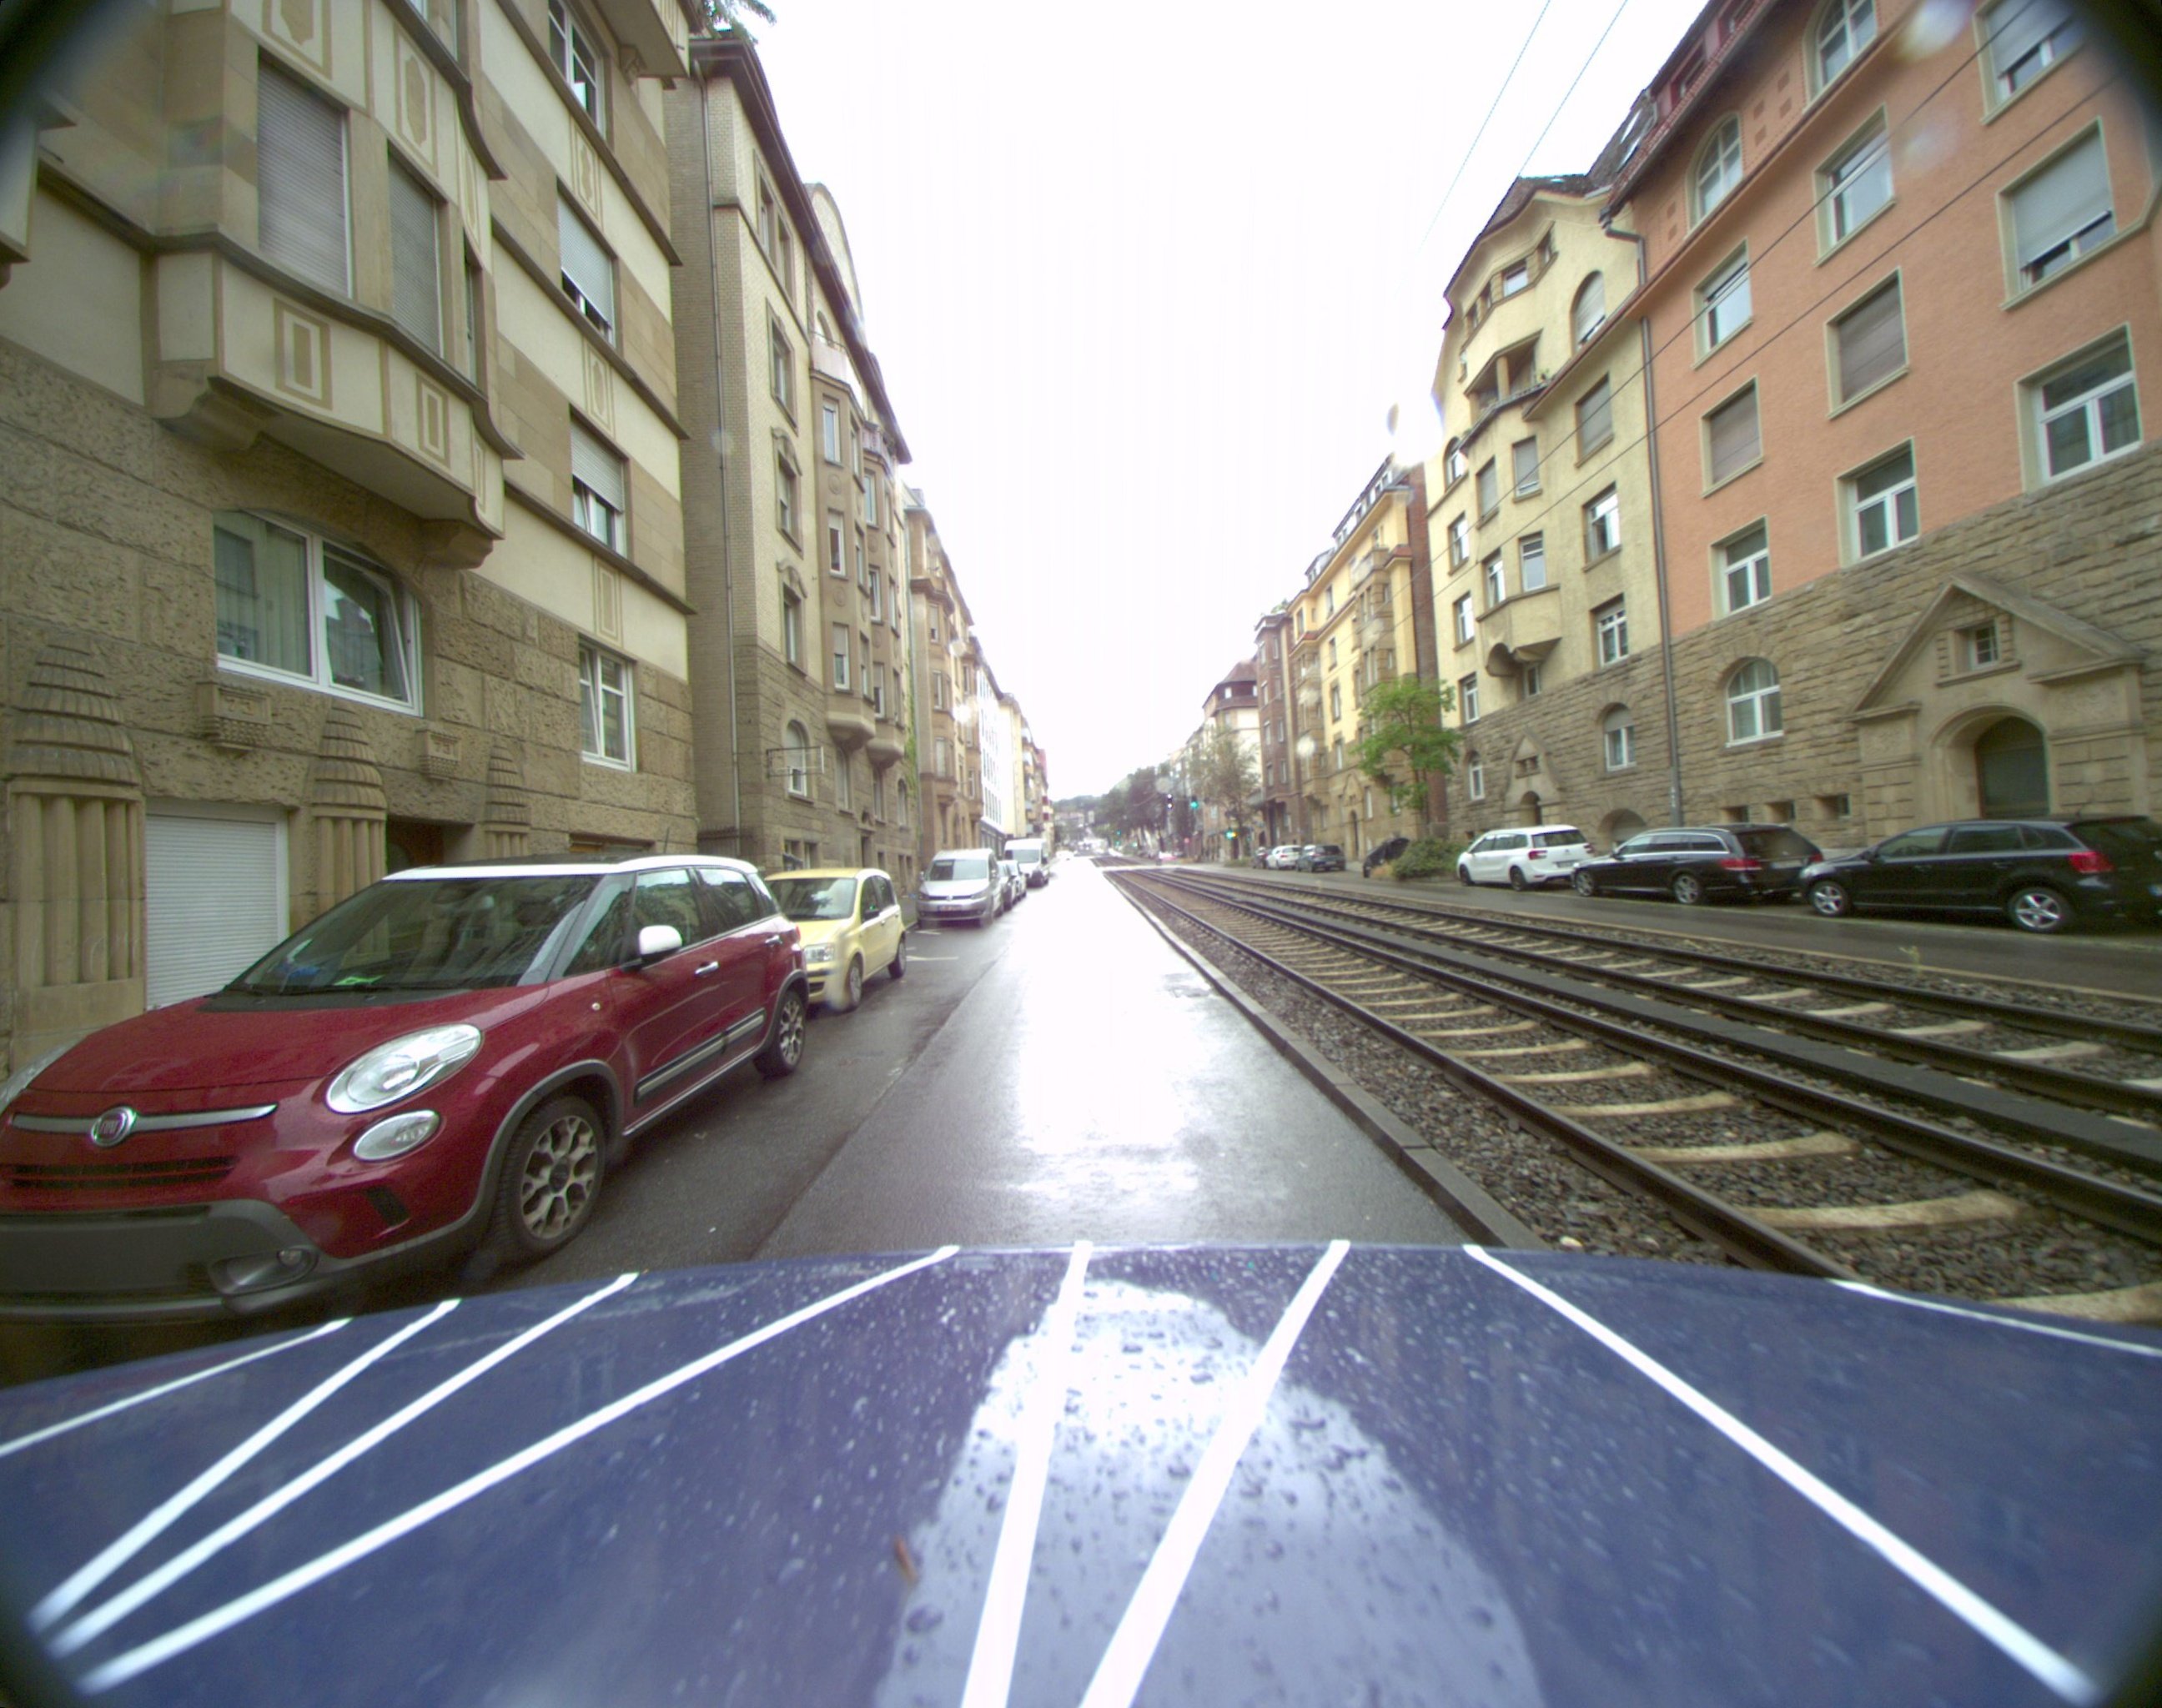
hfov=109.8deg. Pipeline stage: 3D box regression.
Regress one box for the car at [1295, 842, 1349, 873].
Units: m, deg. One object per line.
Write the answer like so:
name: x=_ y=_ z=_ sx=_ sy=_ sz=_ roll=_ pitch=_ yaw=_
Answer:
car: x=12.499 y=0.130 z=39.620 sx=1.678 sy=1.433 sz=3.845 roll=-4 pitch=1 yaw=3

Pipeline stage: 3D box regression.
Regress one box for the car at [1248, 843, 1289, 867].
car: x=12.477 y=0.066 z=50.753 sx=1.771 sy=1.433 sz=3.845 roll=-3 pitch=0 yaw=1

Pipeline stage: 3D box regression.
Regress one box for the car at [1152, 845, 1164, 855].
car: x=12.835 y=-0.643 z=126.841 sx=1.657 sy=1.589 sz=3.775 roll=-3 pitch=0 yaw=1

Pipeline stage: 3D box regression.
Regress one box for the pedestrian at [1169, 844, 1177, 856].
pedestrian: x=15.062 y=-0.641 z=123.973 sx=1.056 sy=1.946 sz=1.163 roll=-3 pitch=1 yaw=2

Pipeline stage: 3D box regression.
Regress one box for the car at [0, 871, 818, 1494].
car: x=-3.039 y=0.978 z=4.098 sx=1.807 sy=1.590 sz=3.999 roll=-3 pitch=0 yaw=-1

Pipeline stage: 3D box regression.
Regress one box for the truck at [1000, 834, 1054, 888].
truck: x=-2.729 y=0.340 z=39.951 sx=2.235 sy=2.521 sz=6.143 roll=-3 pitch=0 yaw=1

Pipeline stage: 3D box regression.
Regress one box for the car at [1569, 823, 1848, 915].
car: x=12.286 y=0.249 z=15.390 sx=1.847 sy=1.486 sz=4.601 roll=-3 pitch=0 yaw=1

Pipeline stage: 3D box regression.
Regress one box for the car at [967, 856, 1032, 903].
car: x=-2.958 y=0.880 z=28.322 sx=1.891 sy=1.521 sz=3.929 roll=-3 pitch=0 yaw=1

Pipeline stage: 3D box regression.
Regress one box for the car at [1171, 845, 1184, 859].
car: x=12.668 y=-0.242 z=99.551 sx=1.583 sy=1.669 sz=3.790 roll=-3 pitch=2 yaw=7

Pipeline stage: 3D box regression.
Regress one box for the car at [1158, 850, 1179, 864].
car: x=9.834 y=0.308 z=85.821 sx=1.807 sy=1.514 sz=4.964 roll=-3 pitch=0 yaw=1

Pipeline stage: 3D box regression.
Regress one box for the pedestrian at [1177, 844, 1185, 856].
pedestrian: x=16.339 y=-0.689 z=123.961 sx=1.056 sy=1.946 sz=1.163 roll=-3 pitch=1 yaw=2

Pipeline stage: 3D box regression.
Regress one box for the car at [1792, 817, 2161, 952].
car: x=12.523 y=0.316 z=10.472 sx=1.935 sy=1.488 sz=3.641 roll=-2 pitch=1 yaw=-2

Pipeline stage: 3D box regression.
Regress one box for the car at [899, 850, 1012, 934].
car: x=-3.016 y=0.847 z=19.205 sx=1.968 sy=1.792 sz=4.459 roll=-3 pitch=0 yaw=1

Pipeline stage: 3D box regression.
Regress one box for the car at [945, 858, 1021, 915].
car: x=-2.969 y=0.938 z=23.822 sx=1.999 sy=1.521 sz=3.999 roll=-3 pitch=0 yaw=-3

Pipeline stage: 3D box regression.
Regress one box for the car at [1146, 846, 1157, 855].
car: x=12.431 y=-0.642 z=133.710 sx=1.632 sy=1.537 sz=3.801 roll=-3 pitch=0 yaw=1

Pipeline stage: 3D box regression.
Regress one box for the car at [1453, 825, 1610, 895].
car: x=12.267 y=0.136 z=21.052 sx=1.867 sy=1.646 sz=4.146 roll=-3 pitch=0 yaw=1

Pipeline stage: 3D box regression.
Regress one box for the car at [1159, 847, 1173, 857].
car: x=12.865 y=-0.285 z=115.371 sx=1.771 sy=1.507 sz=3.845 roll=-3 pitch=0 yaw=1

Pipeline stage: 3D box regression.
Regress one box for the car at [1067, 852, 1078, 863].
car: x=-1.578 y=0.637 z=143.760 sx=1.998 sy=1.838 sz=4.000 roll=-3 pitch=0 yaw=1

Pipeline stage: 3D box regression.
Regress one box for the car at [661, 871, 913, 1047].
car: x=-3.195 y=1.040 z=9.047 sx=1.580 sy=1.520 sz=3.578 roll=-3 pitch=0 yaw=-1

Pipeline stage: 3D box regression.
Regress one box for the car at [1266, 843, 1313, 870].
car: x=12.467 y=0.119 z=45.659 sx=1.771 sy=1.433 sz=4.031 roll=-3 pitch=0 yaw=2
